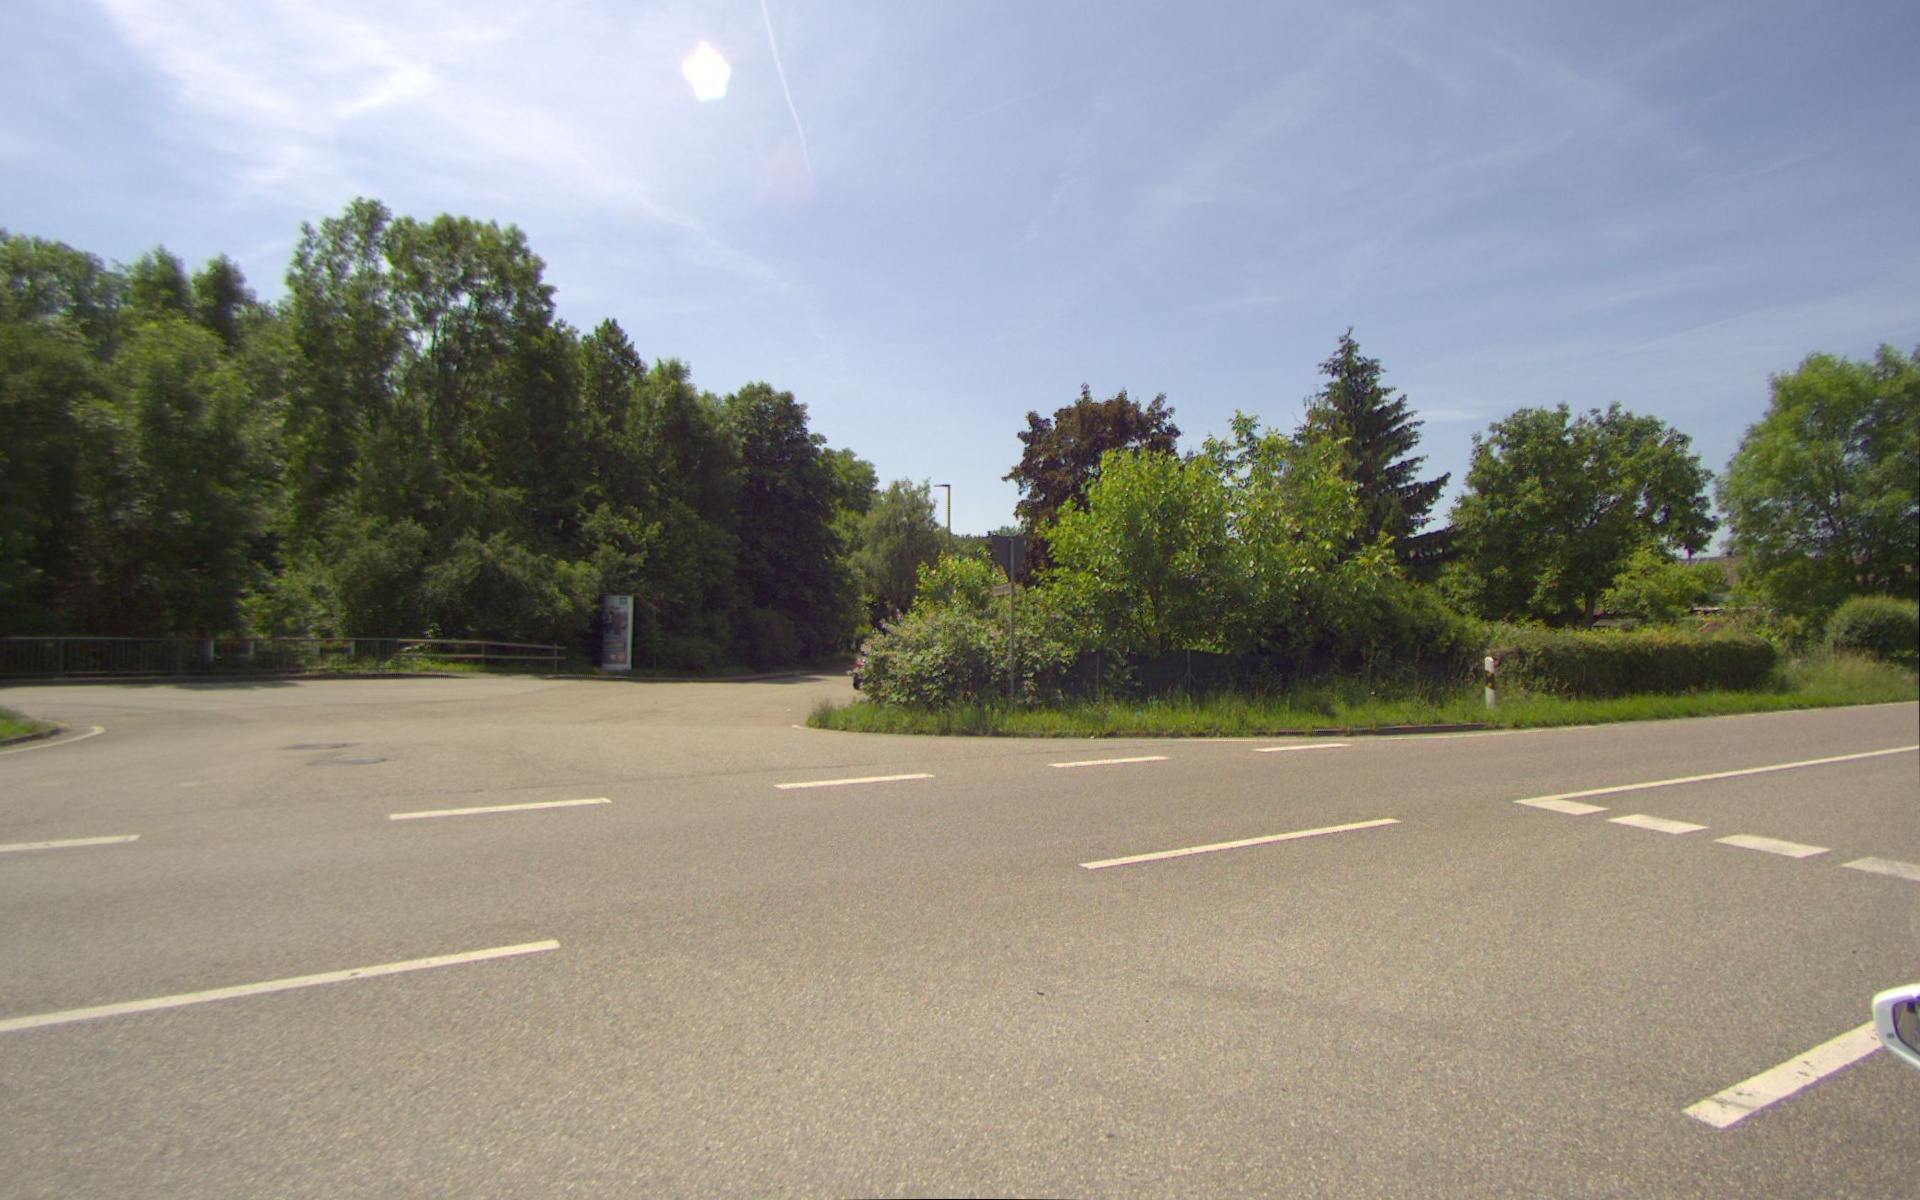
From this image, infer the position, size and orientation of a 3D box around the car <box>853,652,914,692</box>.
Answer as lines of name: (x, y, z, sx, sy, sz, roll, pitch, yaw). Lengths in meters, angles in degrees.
car: (-2.953, 2.793, 39.564, 1.762, 1.375, 4.003, 2, -3, 5)
